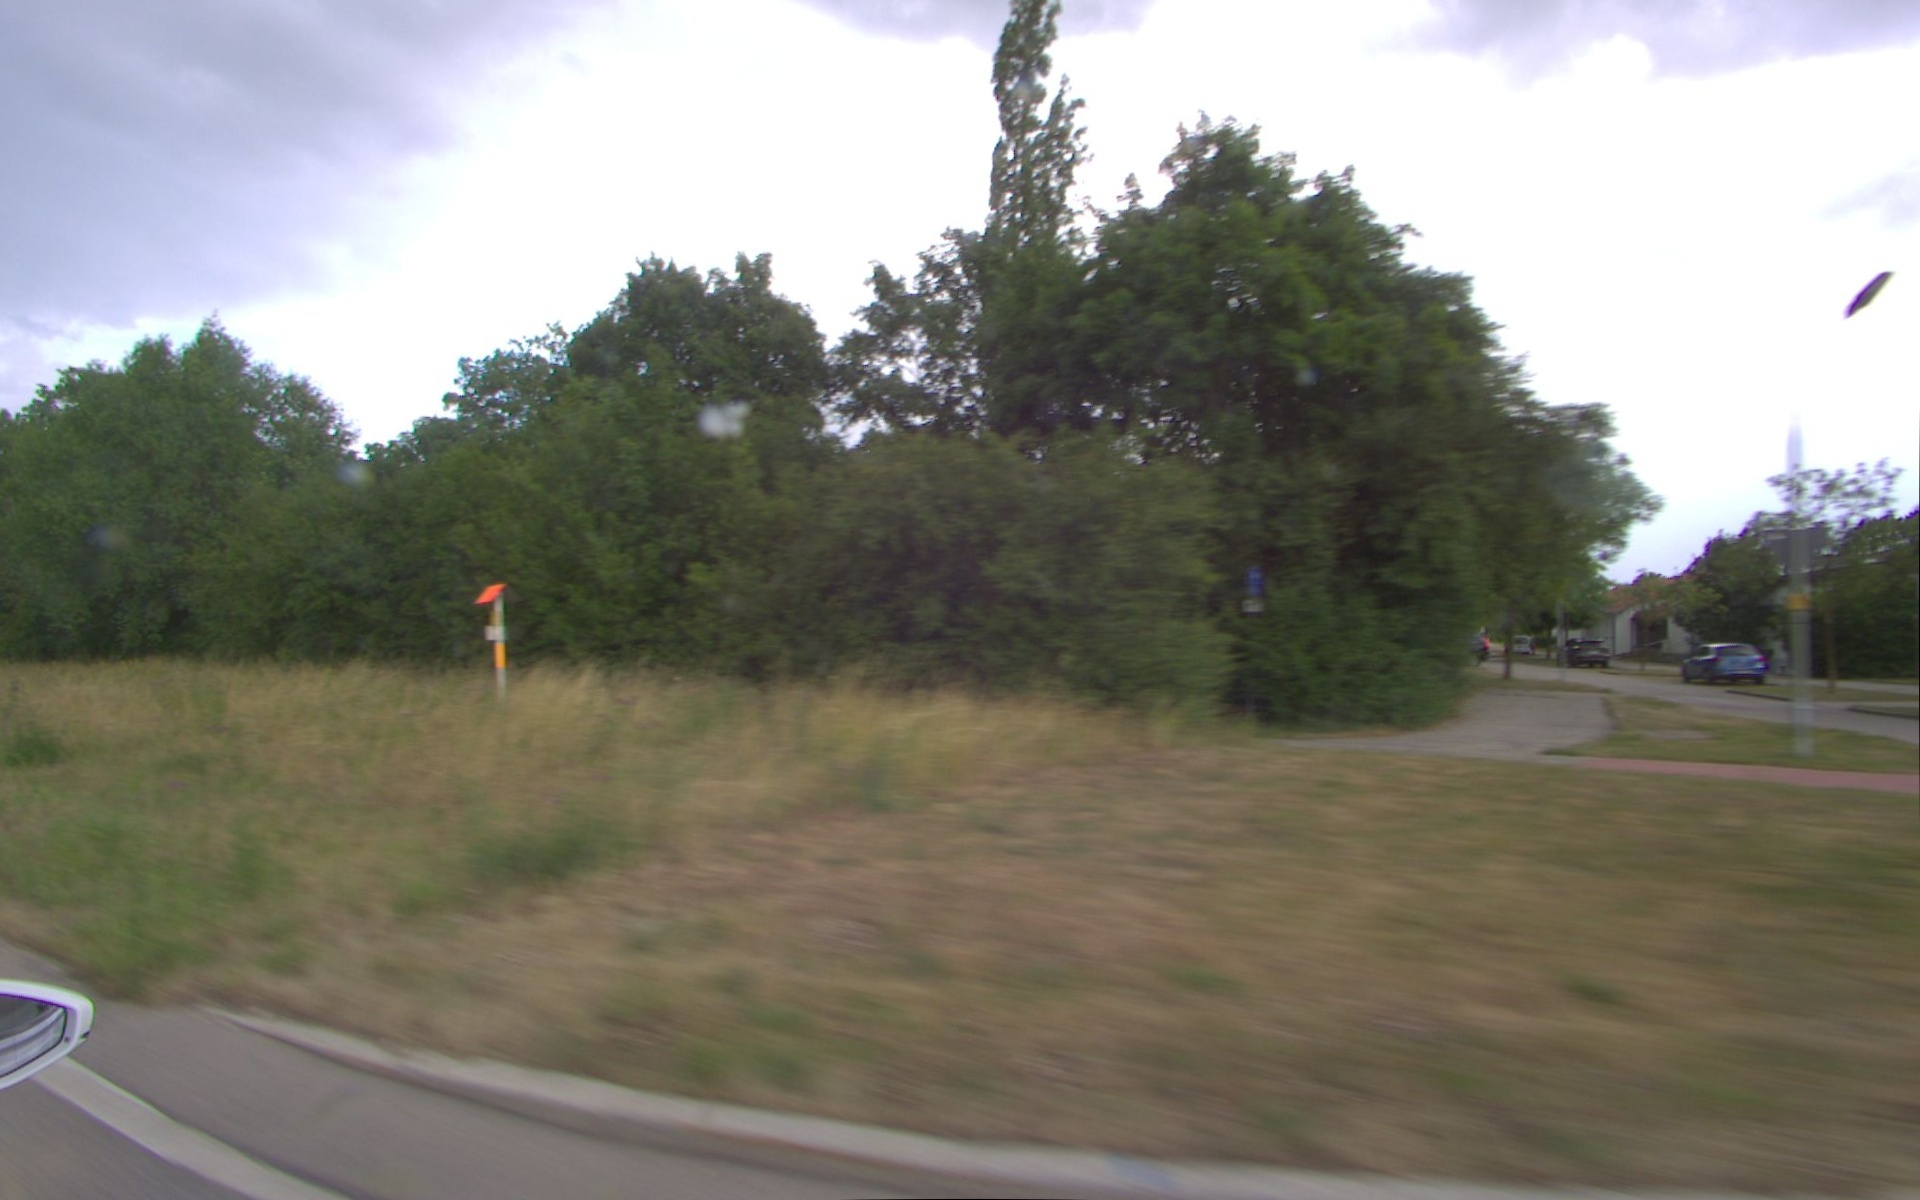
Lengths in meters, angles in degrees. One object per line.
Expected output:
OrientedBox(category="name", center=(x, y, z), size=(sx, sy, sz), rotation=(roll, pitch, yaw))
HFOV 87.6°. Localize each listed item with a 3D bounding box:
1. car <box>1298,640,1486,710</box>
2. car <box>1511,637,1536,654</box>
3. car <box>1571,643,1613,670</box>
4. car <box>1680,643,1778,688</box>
OrientedBox(category="car", center=(10.201, 1.773, 23.810), size=(3.935, 1.489, 1.786), rotation=(-2, -1, 25))
OrientedBox(category="car", center=(57.442, 4.641, 102.123), size=(1.912, 1.631, 3.989), rotation=(-1, -2, 24))
OrientedBox(category="car", center=(35.563, 3.144, 56.421), size=(1.803, 1.482, 3.691), rotation=(-1, -3, 29))
OrientedBox(category="car", center=(27.255, 2.287, 35.623), size=(1.799, 1.482, 3.698), rotation=(-1, -2, 22))
